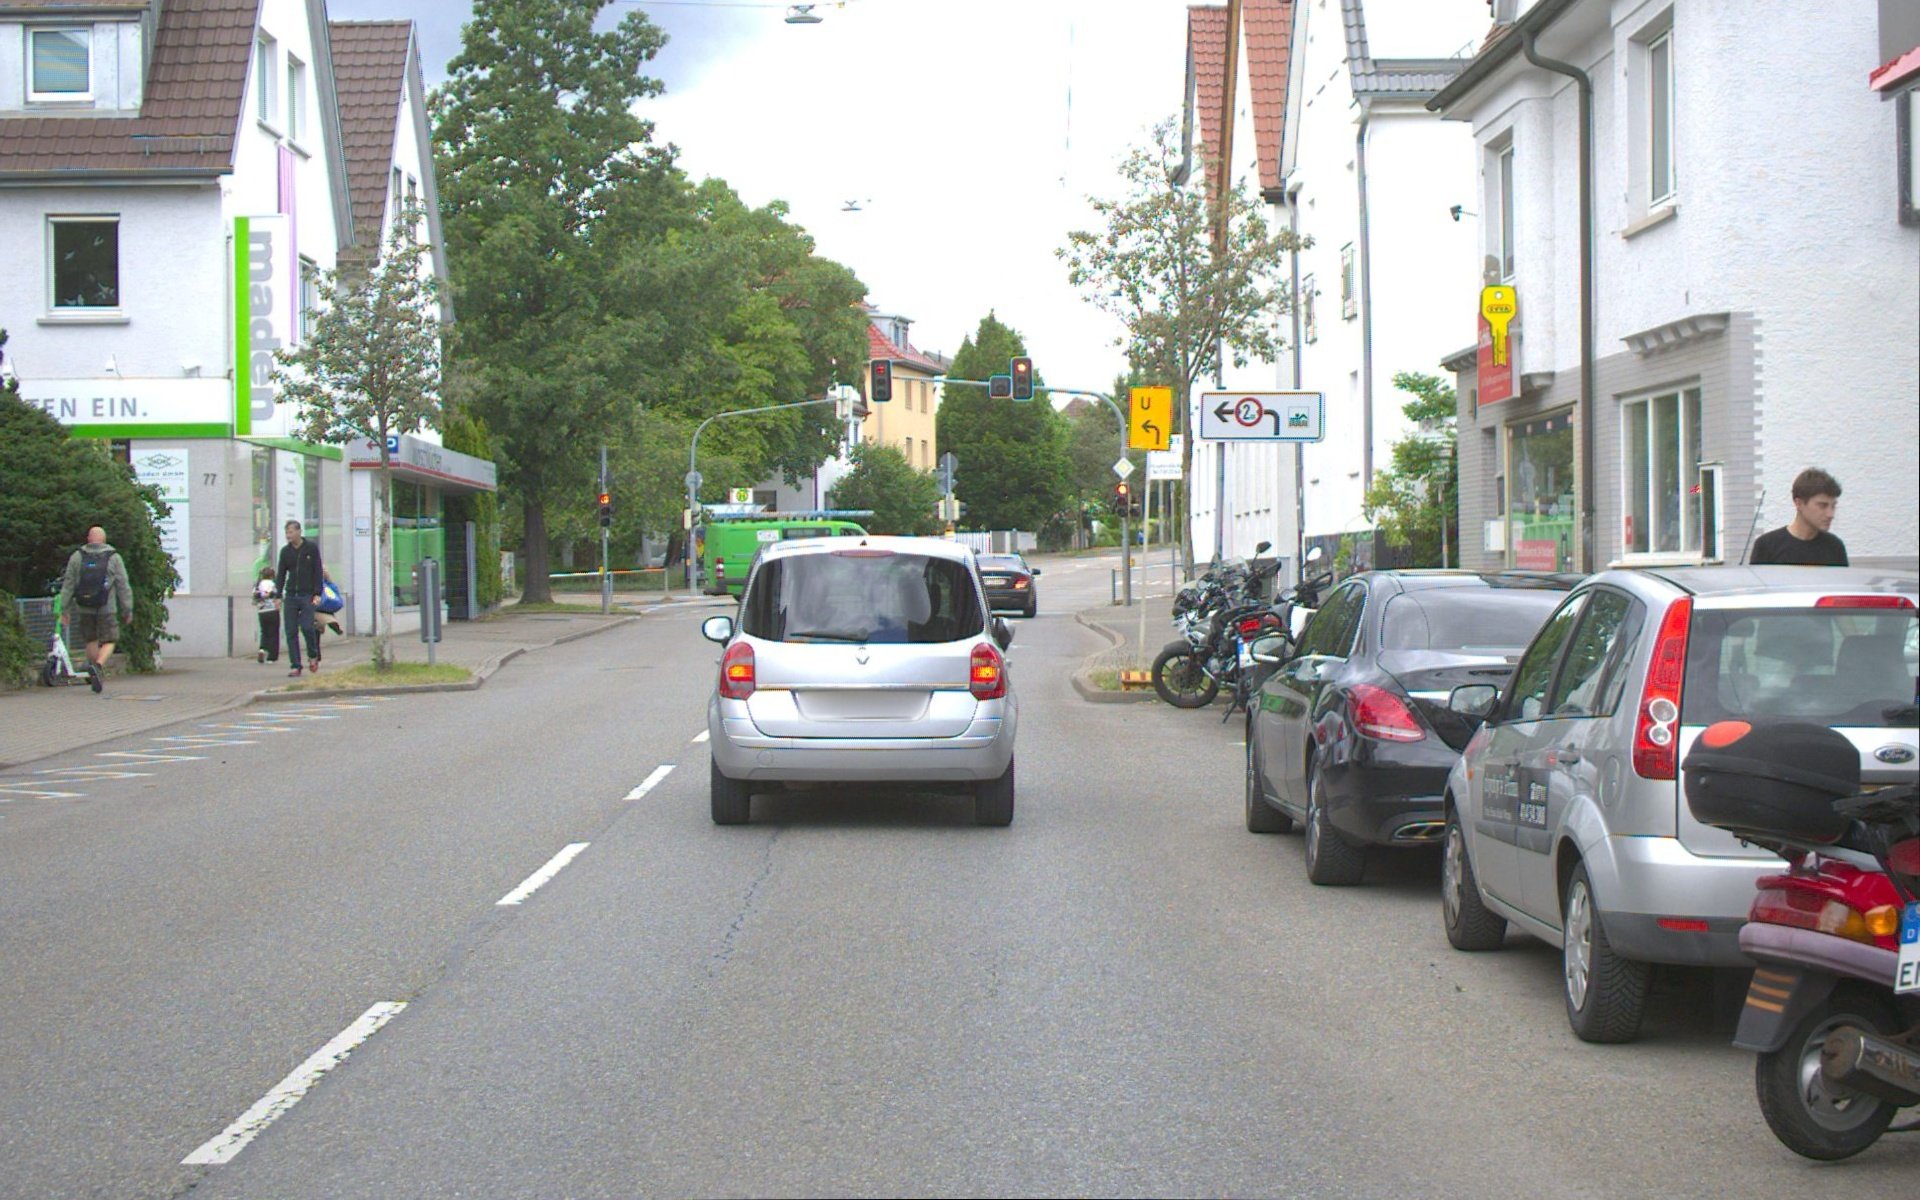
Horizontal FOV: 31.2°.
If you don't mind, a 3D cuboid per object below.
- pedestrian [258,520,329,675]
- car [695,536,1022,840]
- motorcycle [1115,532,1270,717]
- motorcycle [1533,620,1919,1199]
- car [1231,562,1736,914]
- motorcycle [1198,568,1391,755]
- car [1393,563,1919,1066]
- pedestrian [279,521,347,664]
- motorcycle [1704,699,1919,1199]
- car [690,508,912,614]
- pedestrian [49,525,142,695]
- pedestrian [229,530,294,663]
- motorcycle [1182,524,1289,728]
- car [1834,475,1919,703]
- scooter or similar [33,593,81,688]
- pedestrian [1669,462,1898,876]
[{"bbox_3d":[-8.127,-0.037,41.931,0.716,1.869,0.696,1,0,-1],"label":"pedestrian"},{"bbox_3d":[-0.528,0.437,19.952,1.682,1.560,3.993,1,1,0],"label":"car"},{"bbox_3d":[2.115,0.201,31.621,0.697,1.633,2.410,0,0,-14],"label":"motorcycle"},{"bbox_3d":[2.718,0.723,8.586,2.707,1.331,0.700,0,0,-31],"label":"motorcycle"},{"bbox_3d":[2.364,0.559,16.544,1.700,1.462,4.239,1,1,-1],"label":"car"},{"bbox_3d":[2.684,0.455,27.282,0.699,1.404,2.713,1,1,24],"label":"motorcycle"},{"bbox_3d":[2.615,0.597,11.733,1.700,1.425,3.891,1,1,-1],"label":"car"},{"bbox_3d":[-8.578,-0.098,45.573,0.762,1.869,0.696,1,0,-1],"label":"pedestrian"},{"bbox_3d":[2.905,0.811,7.541,2.728,1.179,0.700,0,0,-31],"label":"motorcycle"},{"bbox_3d":[-4.495,-1.078,96.871,5.927,2.897,2.255,0,0,-13],"label":"car"},{"bbox_3d":[-9.181,0.101,36.548,0.762,1.785,0.890,1,0,-1],"label":"pedestrian"},{"bbox_3d":[-9.330,-0.047,45.919,0.716,1.750,0.696,1,0,-1],"label":"pedestrian"},{"bbox_3d":[2.331,0.197,28.901,0.698,1.633,2.408,1,0,9],"label":"motorcycle"},{"bbox_3d":[8.419,-0.054,24.395,3.980,1.560,1.688,1,1,0],"label":"car"},{"bbox_3d":[-9.938,0.440,37.846,0.373,1.031,0.559,-1,1,-1],"label":"scooter or similar"},{"bbox_3d":[3.928,0.316,16.465,0.857,1.921,0.899,1,0,0],"label":"pedestrian"}]
